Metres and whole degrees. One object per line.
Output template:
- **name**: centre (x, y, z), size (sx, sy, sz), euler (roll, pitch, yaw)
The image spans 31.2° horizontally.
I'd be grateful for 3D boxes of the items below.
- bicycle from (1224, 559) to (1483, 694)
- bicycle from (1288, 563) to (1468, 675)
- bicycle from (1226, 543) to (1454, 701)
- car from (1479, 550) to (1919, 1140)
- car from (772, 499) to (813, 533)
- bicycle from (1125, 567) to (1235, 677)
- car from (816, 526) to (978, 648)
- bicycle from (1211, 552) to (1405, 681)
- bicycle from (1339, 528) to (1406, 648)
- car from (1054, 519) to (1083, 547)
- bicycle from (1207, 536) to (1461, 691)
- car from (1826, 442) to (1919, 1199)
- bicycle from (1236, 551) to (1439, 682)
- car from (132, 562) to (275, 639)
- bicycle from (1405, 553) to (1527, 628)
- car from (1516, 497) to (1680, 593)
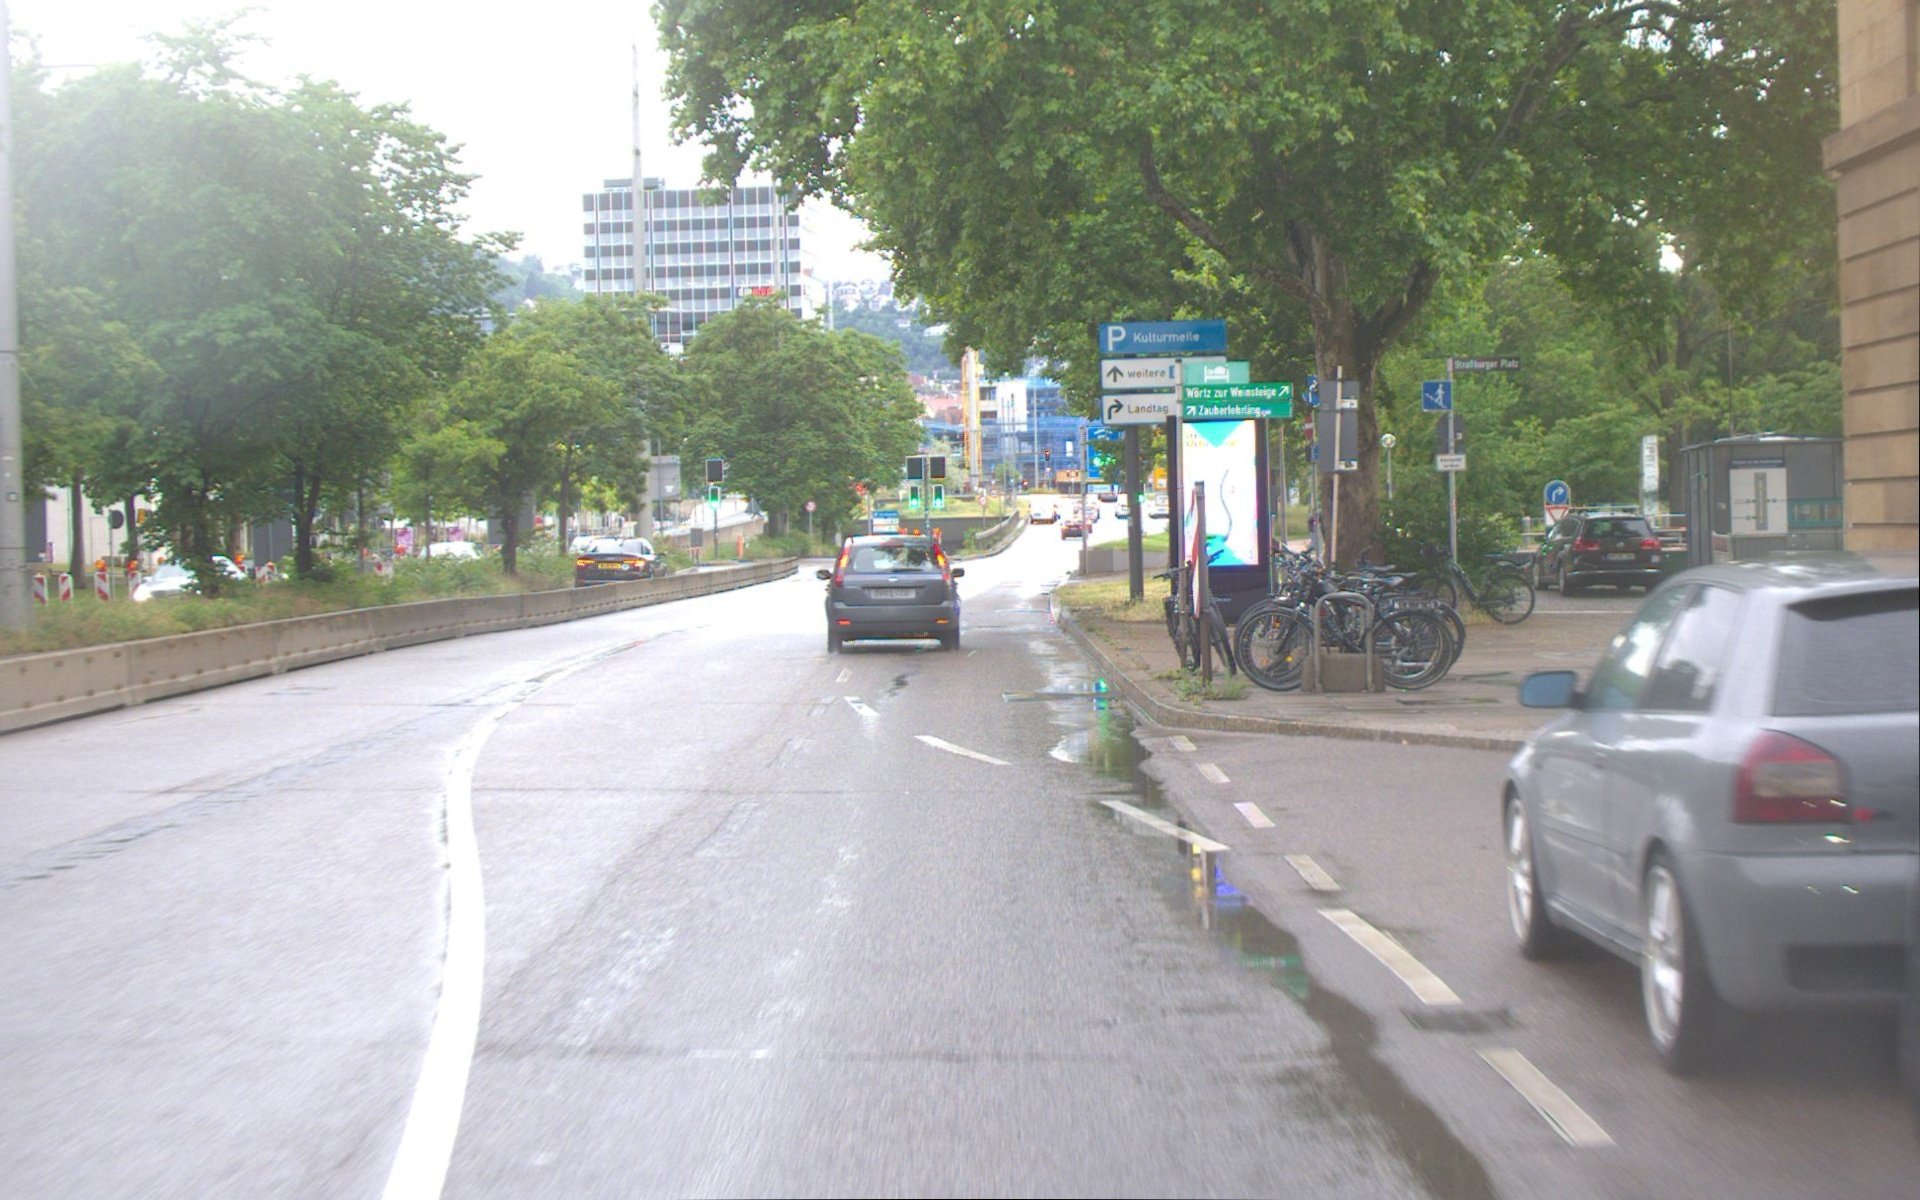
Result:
- **bicycle**: centre (3.179, 0.207, 27.898), size (1.985, 1.056, 0.759), euler (-1, 1, -2)
- **bicycle**: centre (3.810, 0.172, 31.406), size (1.589, 0.991, 0.524), euler (-1, 1, 3)
- **bicycle**: centre (3.283, 0.184, 29.802), size (1.906, 1.328, 0.650), euler (-1, 1, 3)
- **car**: centre (2.815, 0.587, 10.472), size (1.931, 1.473, 3.703), euler (-1, 1, 1)
- **car**: centre (-8.356, -4.195, 172.076), size (1.993, 1.626, 4.001), euler (-1, 1, -2)
- **bicycle**: centre (2.035, 0.190, 31.593), size (0.669, 0.964, 1.636), euler (-1, 1, 16)
- **car**: centre (-0.839, -0.164, 43.318), size (1.844, 1.411, 3.840), euler (-2, 0, -3)
- **bicycle**: centre (3.097, 0.141, 30.682), size (1.679, 1.118, 0.601), euler (-1, 1, 3)
- **bicycle**: centre (4.323, -0.133, 35.966), size (0.605, 1.193, 1.904), euler (-3, 0, 8)
- **car**: centre (7.395, -4.552, 233.912), size (1.739, 1.765, 4.000), euler (-3, 0, 3)
- **bicycle**: centre (3.296, 0.112, 30.427), size (2.191, 1.332, 0.650), euler (-1, 1, 3)
- **car**: centre (2.779, 0.587, 5.265), size (1.994, 1.775, 4.188), euler (-1, 1, 3)
- **bicycle**: centre (3.214, 0.134, 29.375), size (1.679, 1.086, 0.650), euler (-1, 1, 3)
- **car**: centre (-17.518, -0.005, 79.861), size (1.994, 1.619, 4.808), euler (-3, 0, 3)
- **bicycle**: centre (7.057, -0.137, 47.972), size (1.641, 1.017, 0.575), euler (1, 1, 6)
- **car**: centre (11.614, -1.047, 62.945), size (1.993, 1.604, 5.237), euler (-1, 2, 0)
